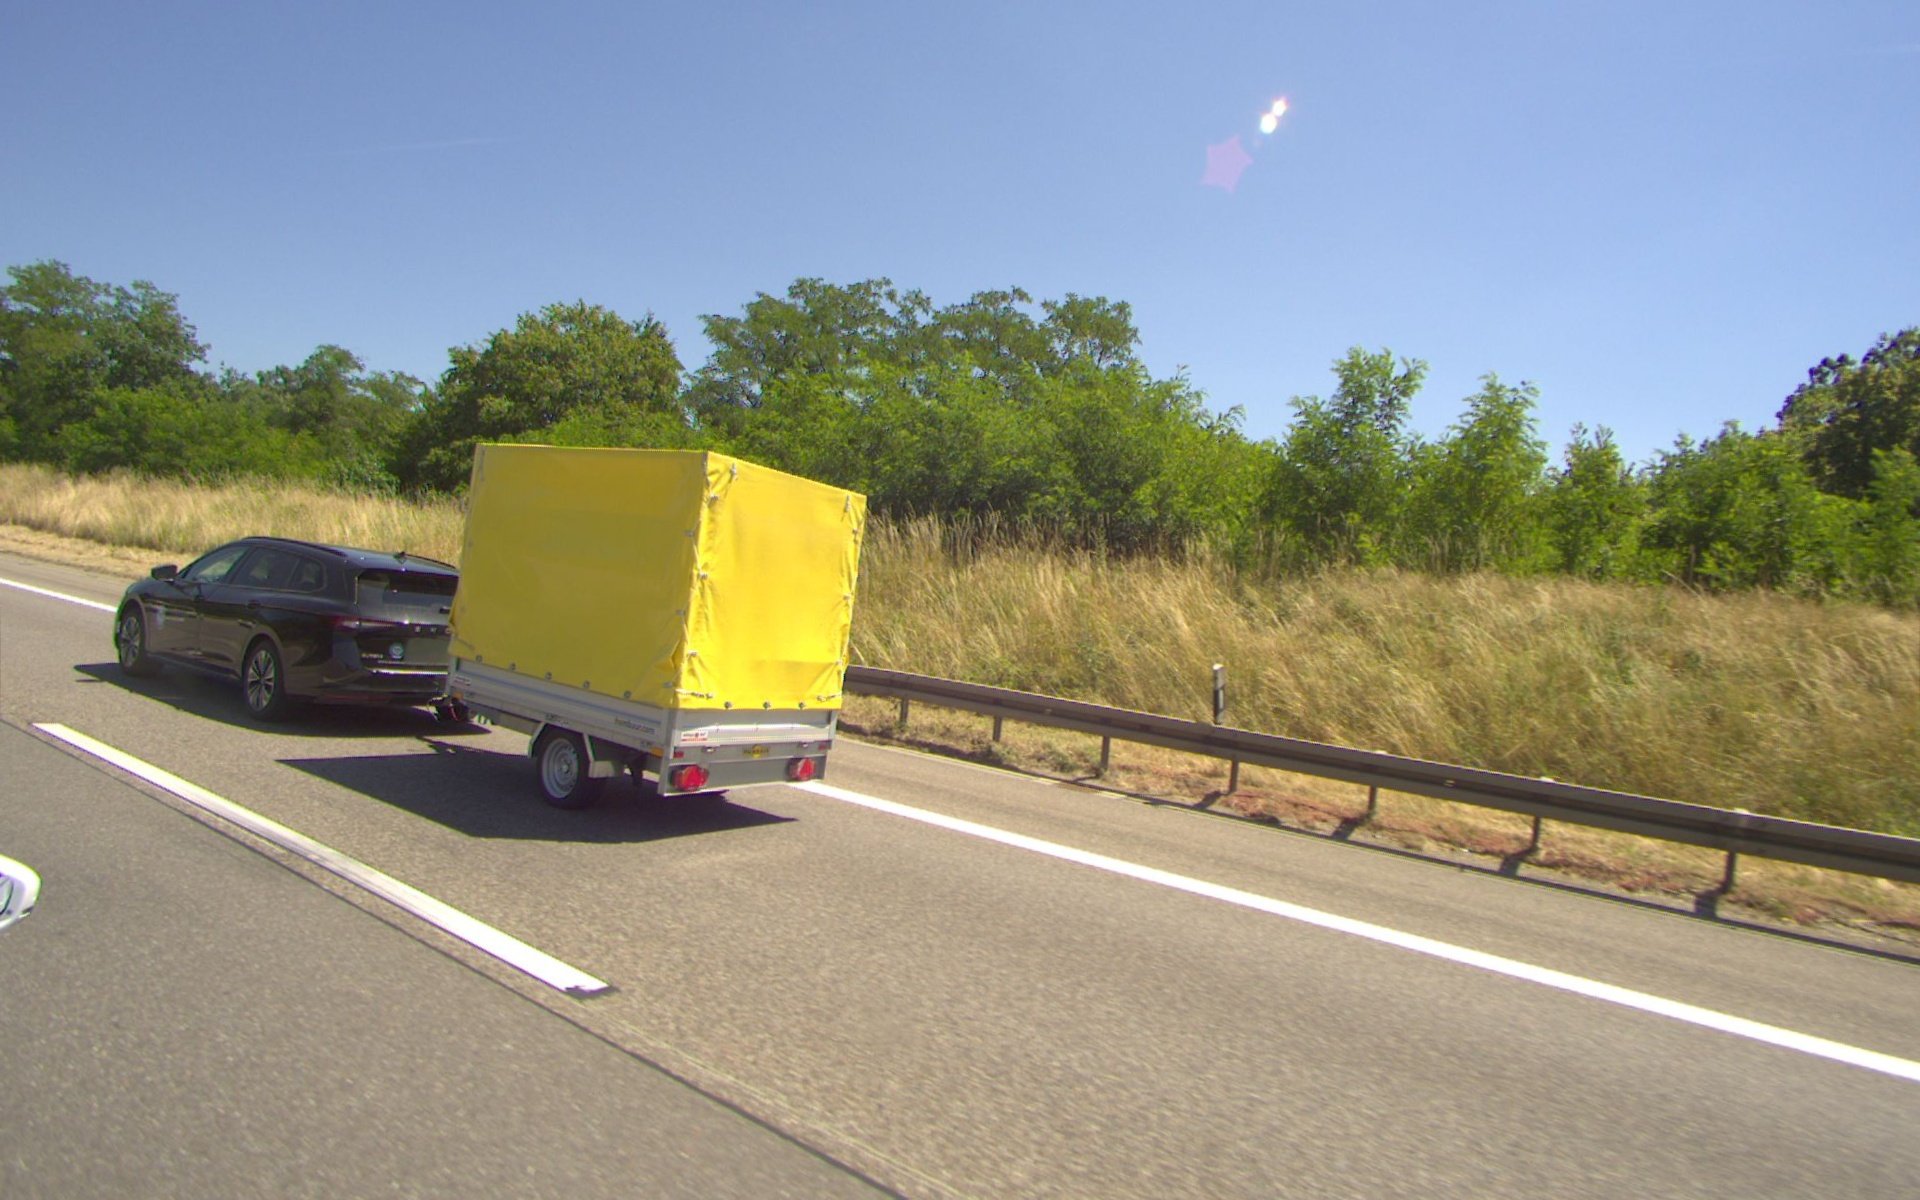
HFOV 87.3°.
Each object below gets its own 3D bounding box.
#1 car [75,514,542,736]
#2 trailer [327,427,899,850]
[{"bbox_3d":[-6.287,0.155,9.534,4.710,1.473,1.824,6,-1,32],"label":"car"},{"bbox_3d":[-2.572,0.118,7.220,3.777,2.317,1.705,6,-1,32],"label":"trailer"}]
